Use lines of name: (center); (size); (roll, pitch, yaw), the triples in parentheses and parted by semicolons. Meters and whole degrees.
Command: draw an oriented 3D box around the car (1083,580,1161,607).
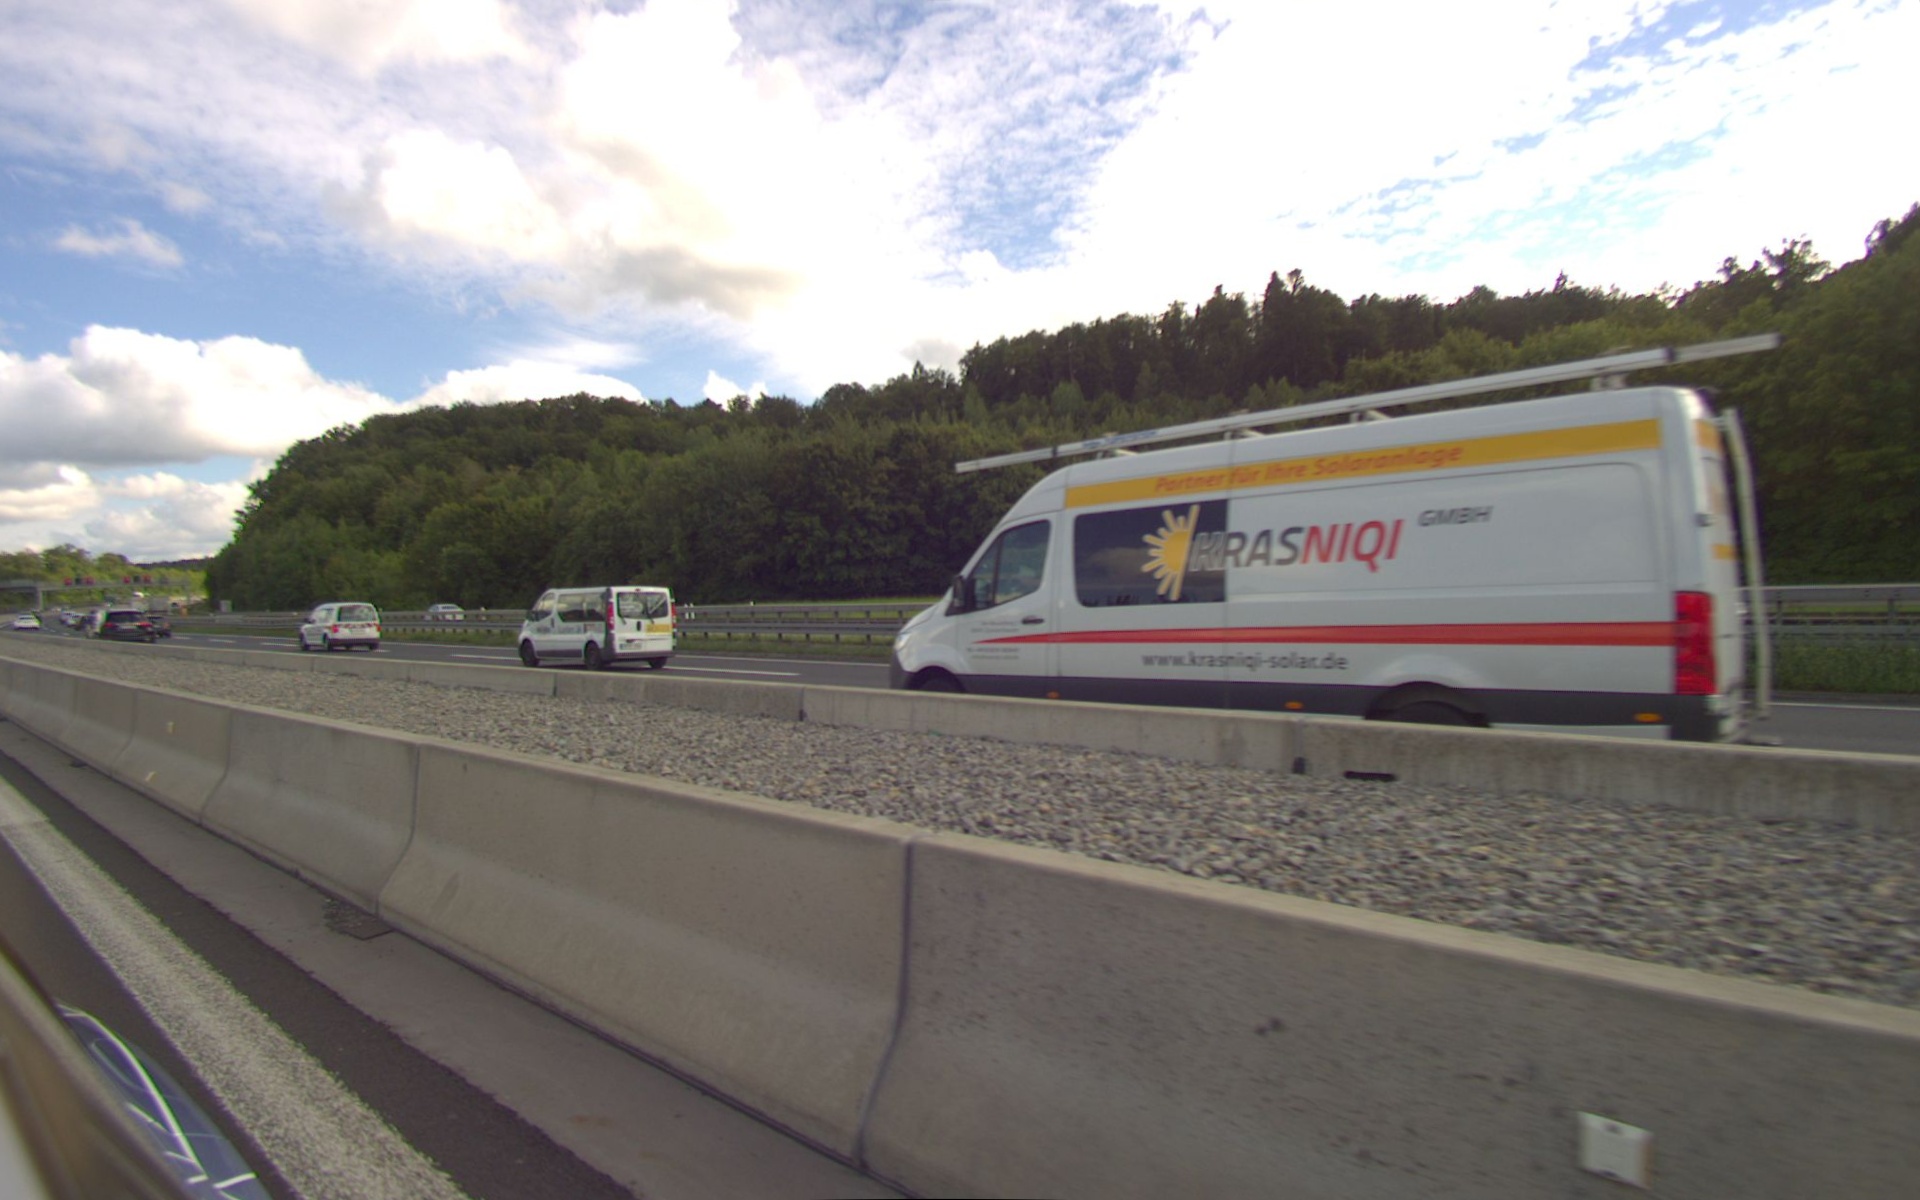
car: (9.650, -0.385, 60.250); (4.230, 1.461, 1.737); (-2, 0, -22)

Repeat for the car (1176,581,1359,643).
car: (7.151, 0.275, 23.716); (3.754, 1.330, 1.621); (-1, 1, 40)

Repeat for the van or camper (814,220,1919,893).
van or camper: (2.560, -0.161, 8.085); (7.463, 2.938, 3.300); (-1, 0, 42)

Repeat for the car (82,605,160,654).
car: (-36.232, 1.245, 43.663); (5.150, 1.934, 1.972); (-1, 0, 44)

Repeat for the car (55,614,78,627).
car: (-119.691, 2.760, 135.609); (4.967, 1.622, 1.865); (-1, 0, 43)

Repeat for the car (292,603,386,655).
car: (-23.730, 1.092, 38.614); (4.240, 1.828, 1.972); (-1, 0, 43)

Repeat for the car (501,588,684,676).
car: (-9.002, 0.744, 24.546); (5.285, 1.920, 1.894); (-1, -1, 42)

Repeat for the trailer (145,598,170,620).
trailer: (-168.162, 1.745, 212.007); (3.281, 4.324, 12.155); (-1, 1, -42)

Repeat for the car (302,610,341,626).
car: (-61.114, 1.745, 96.827); (4.621, 1.442, 1.764); (-1, 0, 40)

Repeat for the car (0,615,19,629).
car: (-125.572, 2.892, 133.469); (4.954, 1.798, 1.865); (-1, 0, 44)

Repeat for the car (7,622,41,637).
car: (-90.530, 2.801, 97.861); (5.608, 1.347, 2.023); (-1, 0, 43)

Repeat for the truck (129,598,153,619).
truck: (-162.631, 1.632, 200.987); (2.868, 3.998, 10.474); (-1, 1, -43)

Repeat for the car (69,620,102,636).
car: (-81.160, 2.588, 93.885); (4.229, 1.347, 1.848); (-1, 0, 43)

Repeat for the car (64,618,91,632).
car: (-98.034, 2.761, 112.404); (4.579, 1.440, 1.865); (-1, 0, 44)

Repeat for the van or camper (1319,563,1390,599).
van or camper: (26.567, -1.305, 68.124); (5.645, 2.265, 2.108); (-2, 0, -42)

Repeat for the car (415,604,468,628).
car: (-39.613, 1.229, 77.278); (5.224, 1.684, 1.914); (-1, 0, 43)
